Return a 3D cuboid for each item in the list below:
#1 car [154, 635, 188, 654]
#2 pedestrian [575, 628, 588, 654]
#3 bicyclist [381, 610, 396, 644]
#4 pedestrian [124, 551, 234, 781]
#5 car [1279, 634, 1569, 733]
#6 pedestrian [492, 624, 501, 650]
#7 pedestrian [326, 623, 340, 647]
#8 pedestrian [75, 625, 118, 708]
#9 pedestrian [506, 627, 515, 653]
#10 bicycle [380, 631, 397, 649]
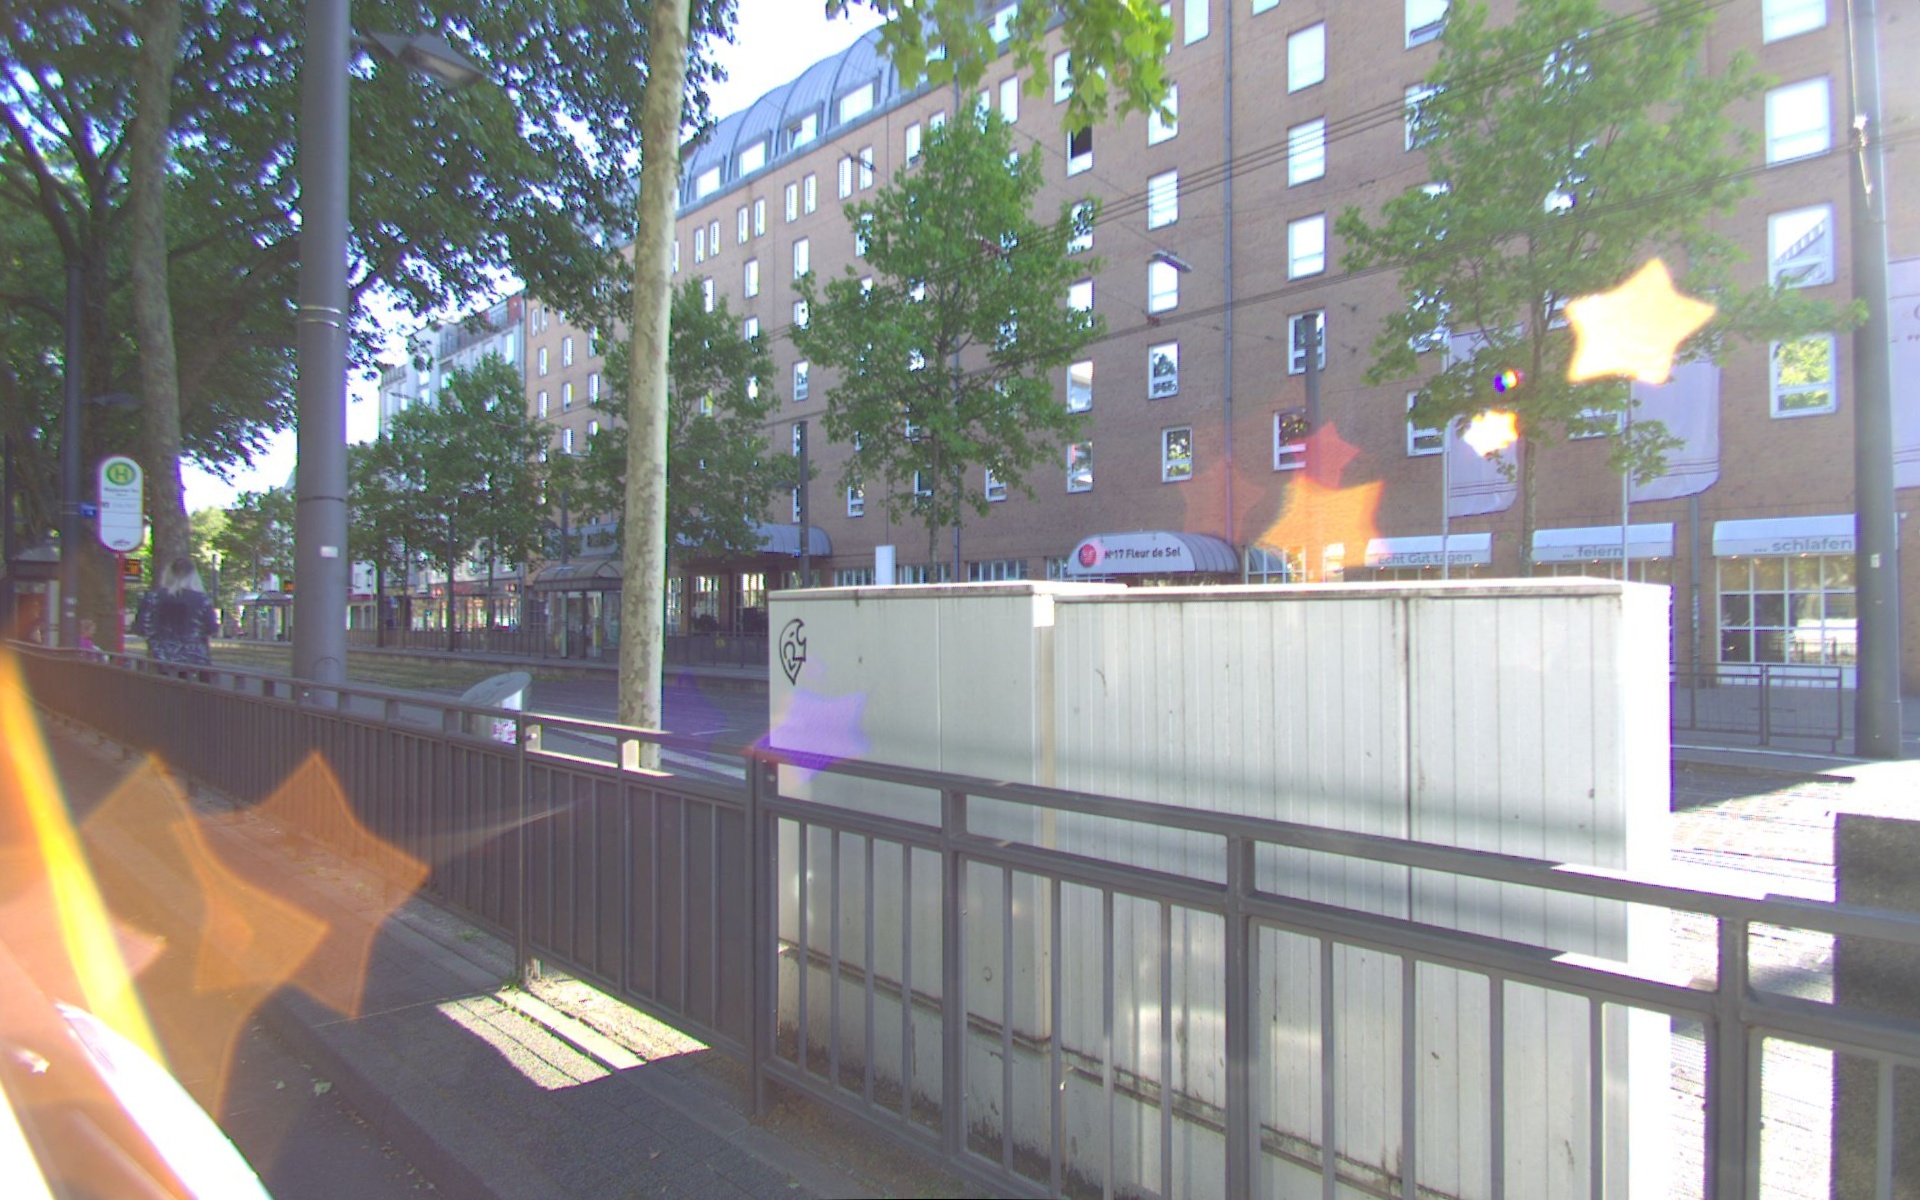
[{"bbox_3d":[-81.192,4.522,104.104,3.998,1.874,1.973,-1,-2,41],"label":"car"},{"bbox_3d":[-21.285,2.302,56.970,0.516,1.447,0.512,-2,-2,44],"label":"pedestrian"},{"bbox_3d":[-33.323,1.580,59.041,0.564,1.918,0.814,2,-2,-43],"label":"bicyclist"},{"bbox_3d":[-6.780,0.542,8.786,0.622,1.897,0.599,1,0,37],"label":"pedestrian"},{"bbox_3d":[8.030,1.369,17.794,4.309,1.500,1.736,-2,-2,43],"label":"car"},{"bbox_3d":[-27.168,2.144,59.300,0.431,1.518,0.660,1,-2,-27],"label":"pedestrian"},{"bbox_3d":[-53.519,2.995,86.322,0.763,2.029,0.796,-2,-2,41],"label":"pedestrian"},{"bbox_3d":[-13.951,1.061,16.352,0.493,1.325,0.419,1,-2,-41],"label":"pedestrian"},{"bbox_3d":[-26.481,2.364,59.593,0.431,1.532,0.660,1,-2,-27],"label":"pedestrian"},{"bbox_3d":[-33.390,2.333,59.150,0.444,1.012,1.754,2,-2,-44],"label":"bicycle"}]
